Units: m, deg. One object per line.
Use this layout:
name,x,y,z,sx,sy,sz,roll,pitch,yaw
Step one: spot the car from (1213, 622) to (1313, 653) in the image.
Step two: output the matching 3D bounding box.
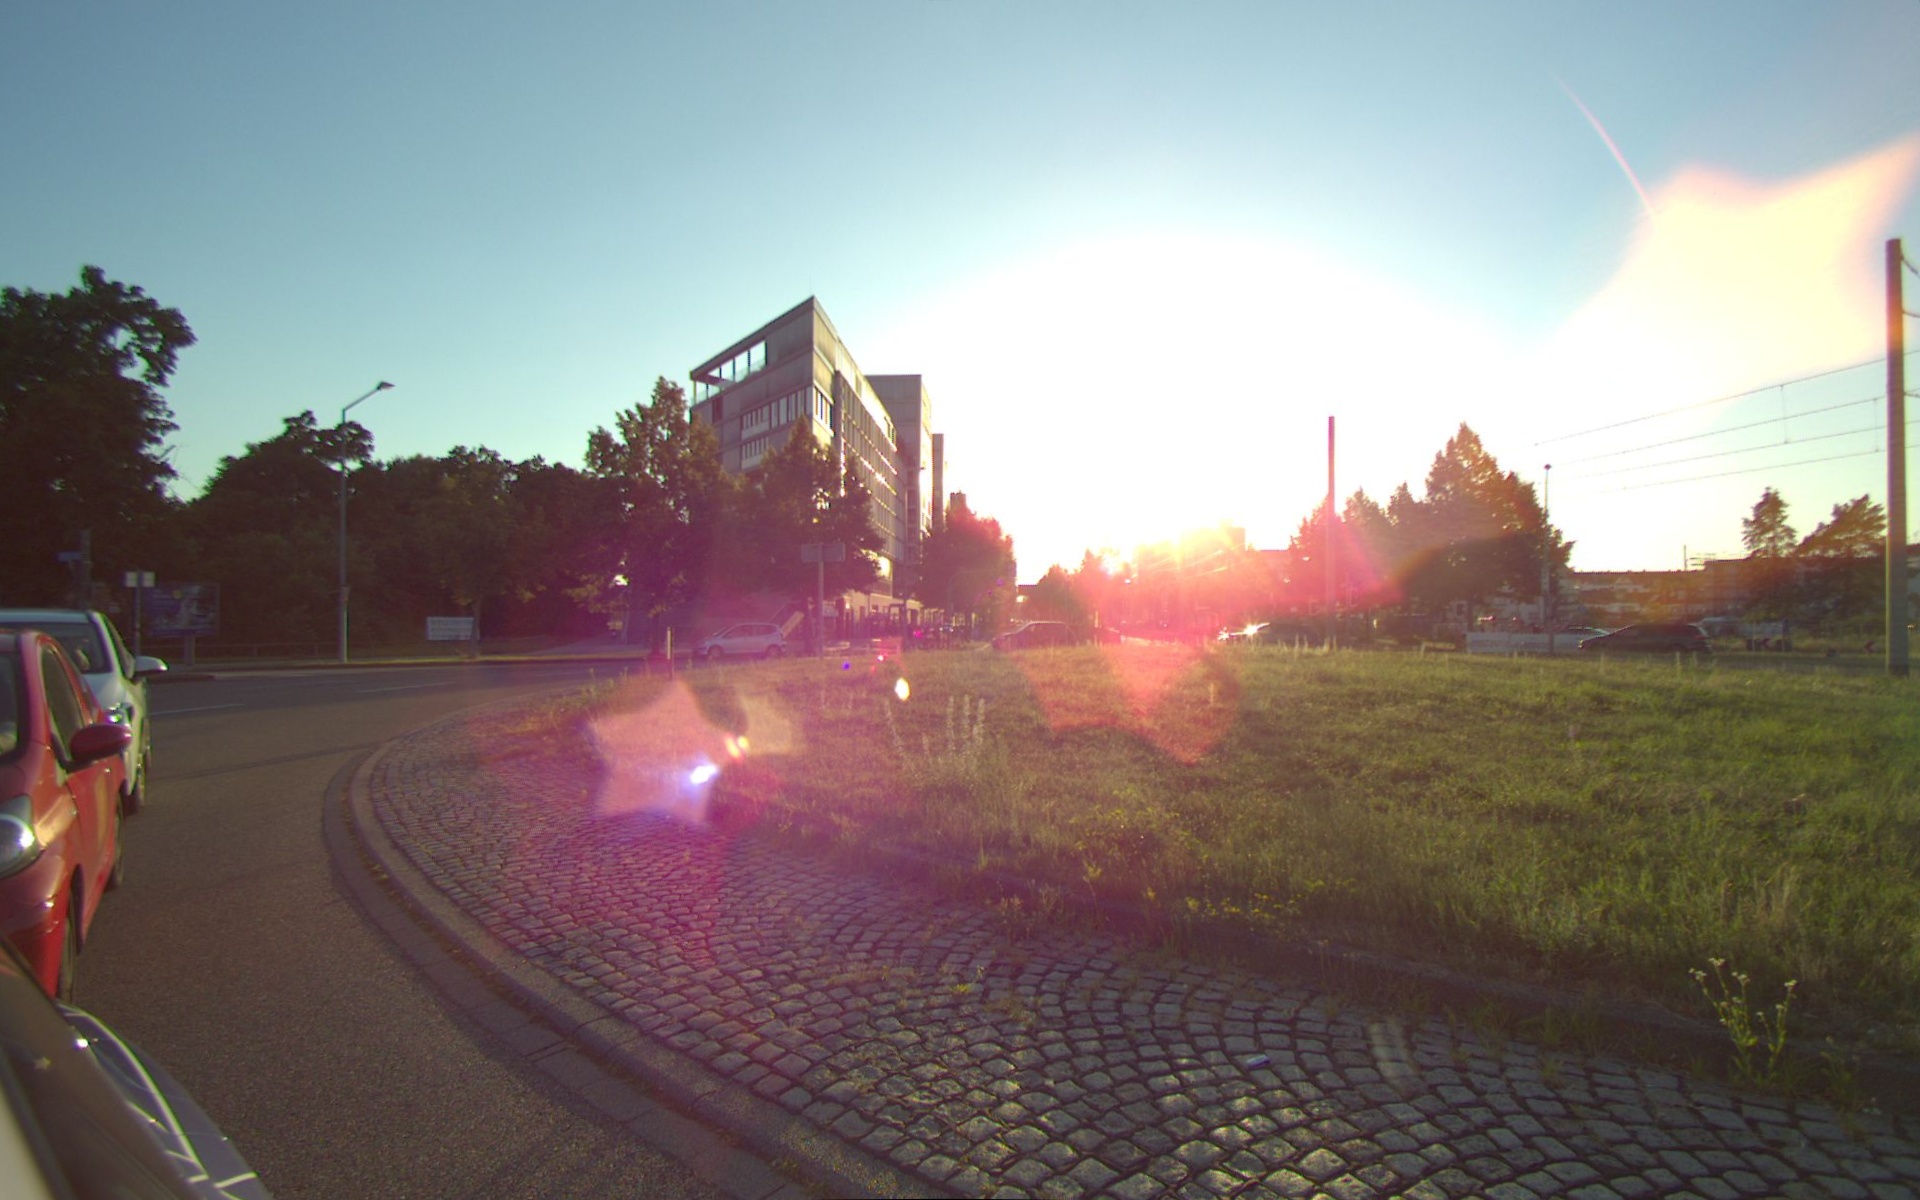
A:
car,14.146,1.760,47.471,4.307,1.386,1.992,-1,-1,12

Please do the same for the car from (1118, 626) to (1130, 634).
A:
car,32.350,5.864,199.793,1.975,1.539,4.338,0,-1,6

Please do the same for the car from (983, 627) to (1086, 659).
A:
car,3.448,1.953,46.841,4.309,1.386,2.006,0,-1,-17

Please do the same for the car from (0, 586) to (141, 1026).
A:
car,-4.812,0.700,4.522,1.662,1.431,4.008,1,-1,-37

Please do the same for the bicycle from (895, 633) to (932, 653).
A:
bicycle,-2.897,2.679,62.971,2.315,1.254,0.742,0,-1,0

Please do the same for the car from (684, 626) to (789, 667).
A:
car,-9.196,1.890,41.623,3.825,1.592,1.961,0,-1,-27

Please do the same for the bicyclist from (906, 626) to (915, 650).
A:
bicyclist,-3.077,2.355,62.993,0.602,1.451,0.692,0,-1,-2

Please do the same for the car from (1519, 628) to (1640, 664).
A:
car,29.258,2.113,47.907,1.968,1.591,4.494,1,-2,-38

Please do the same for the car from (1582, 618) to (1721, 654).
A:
car,27.808,1.419,40.803,4.384,1.386,1.972,-1,-2,43

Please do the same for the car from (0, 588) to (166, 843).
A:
car,-7.669,0.773,7.863,1.970,1.618,4.202,1,-2,-43

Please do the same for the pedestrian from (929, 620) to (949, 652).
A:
pedestrian,-1.354,2.309,64.630,0.995,2.029,0.768,-1,0,29
